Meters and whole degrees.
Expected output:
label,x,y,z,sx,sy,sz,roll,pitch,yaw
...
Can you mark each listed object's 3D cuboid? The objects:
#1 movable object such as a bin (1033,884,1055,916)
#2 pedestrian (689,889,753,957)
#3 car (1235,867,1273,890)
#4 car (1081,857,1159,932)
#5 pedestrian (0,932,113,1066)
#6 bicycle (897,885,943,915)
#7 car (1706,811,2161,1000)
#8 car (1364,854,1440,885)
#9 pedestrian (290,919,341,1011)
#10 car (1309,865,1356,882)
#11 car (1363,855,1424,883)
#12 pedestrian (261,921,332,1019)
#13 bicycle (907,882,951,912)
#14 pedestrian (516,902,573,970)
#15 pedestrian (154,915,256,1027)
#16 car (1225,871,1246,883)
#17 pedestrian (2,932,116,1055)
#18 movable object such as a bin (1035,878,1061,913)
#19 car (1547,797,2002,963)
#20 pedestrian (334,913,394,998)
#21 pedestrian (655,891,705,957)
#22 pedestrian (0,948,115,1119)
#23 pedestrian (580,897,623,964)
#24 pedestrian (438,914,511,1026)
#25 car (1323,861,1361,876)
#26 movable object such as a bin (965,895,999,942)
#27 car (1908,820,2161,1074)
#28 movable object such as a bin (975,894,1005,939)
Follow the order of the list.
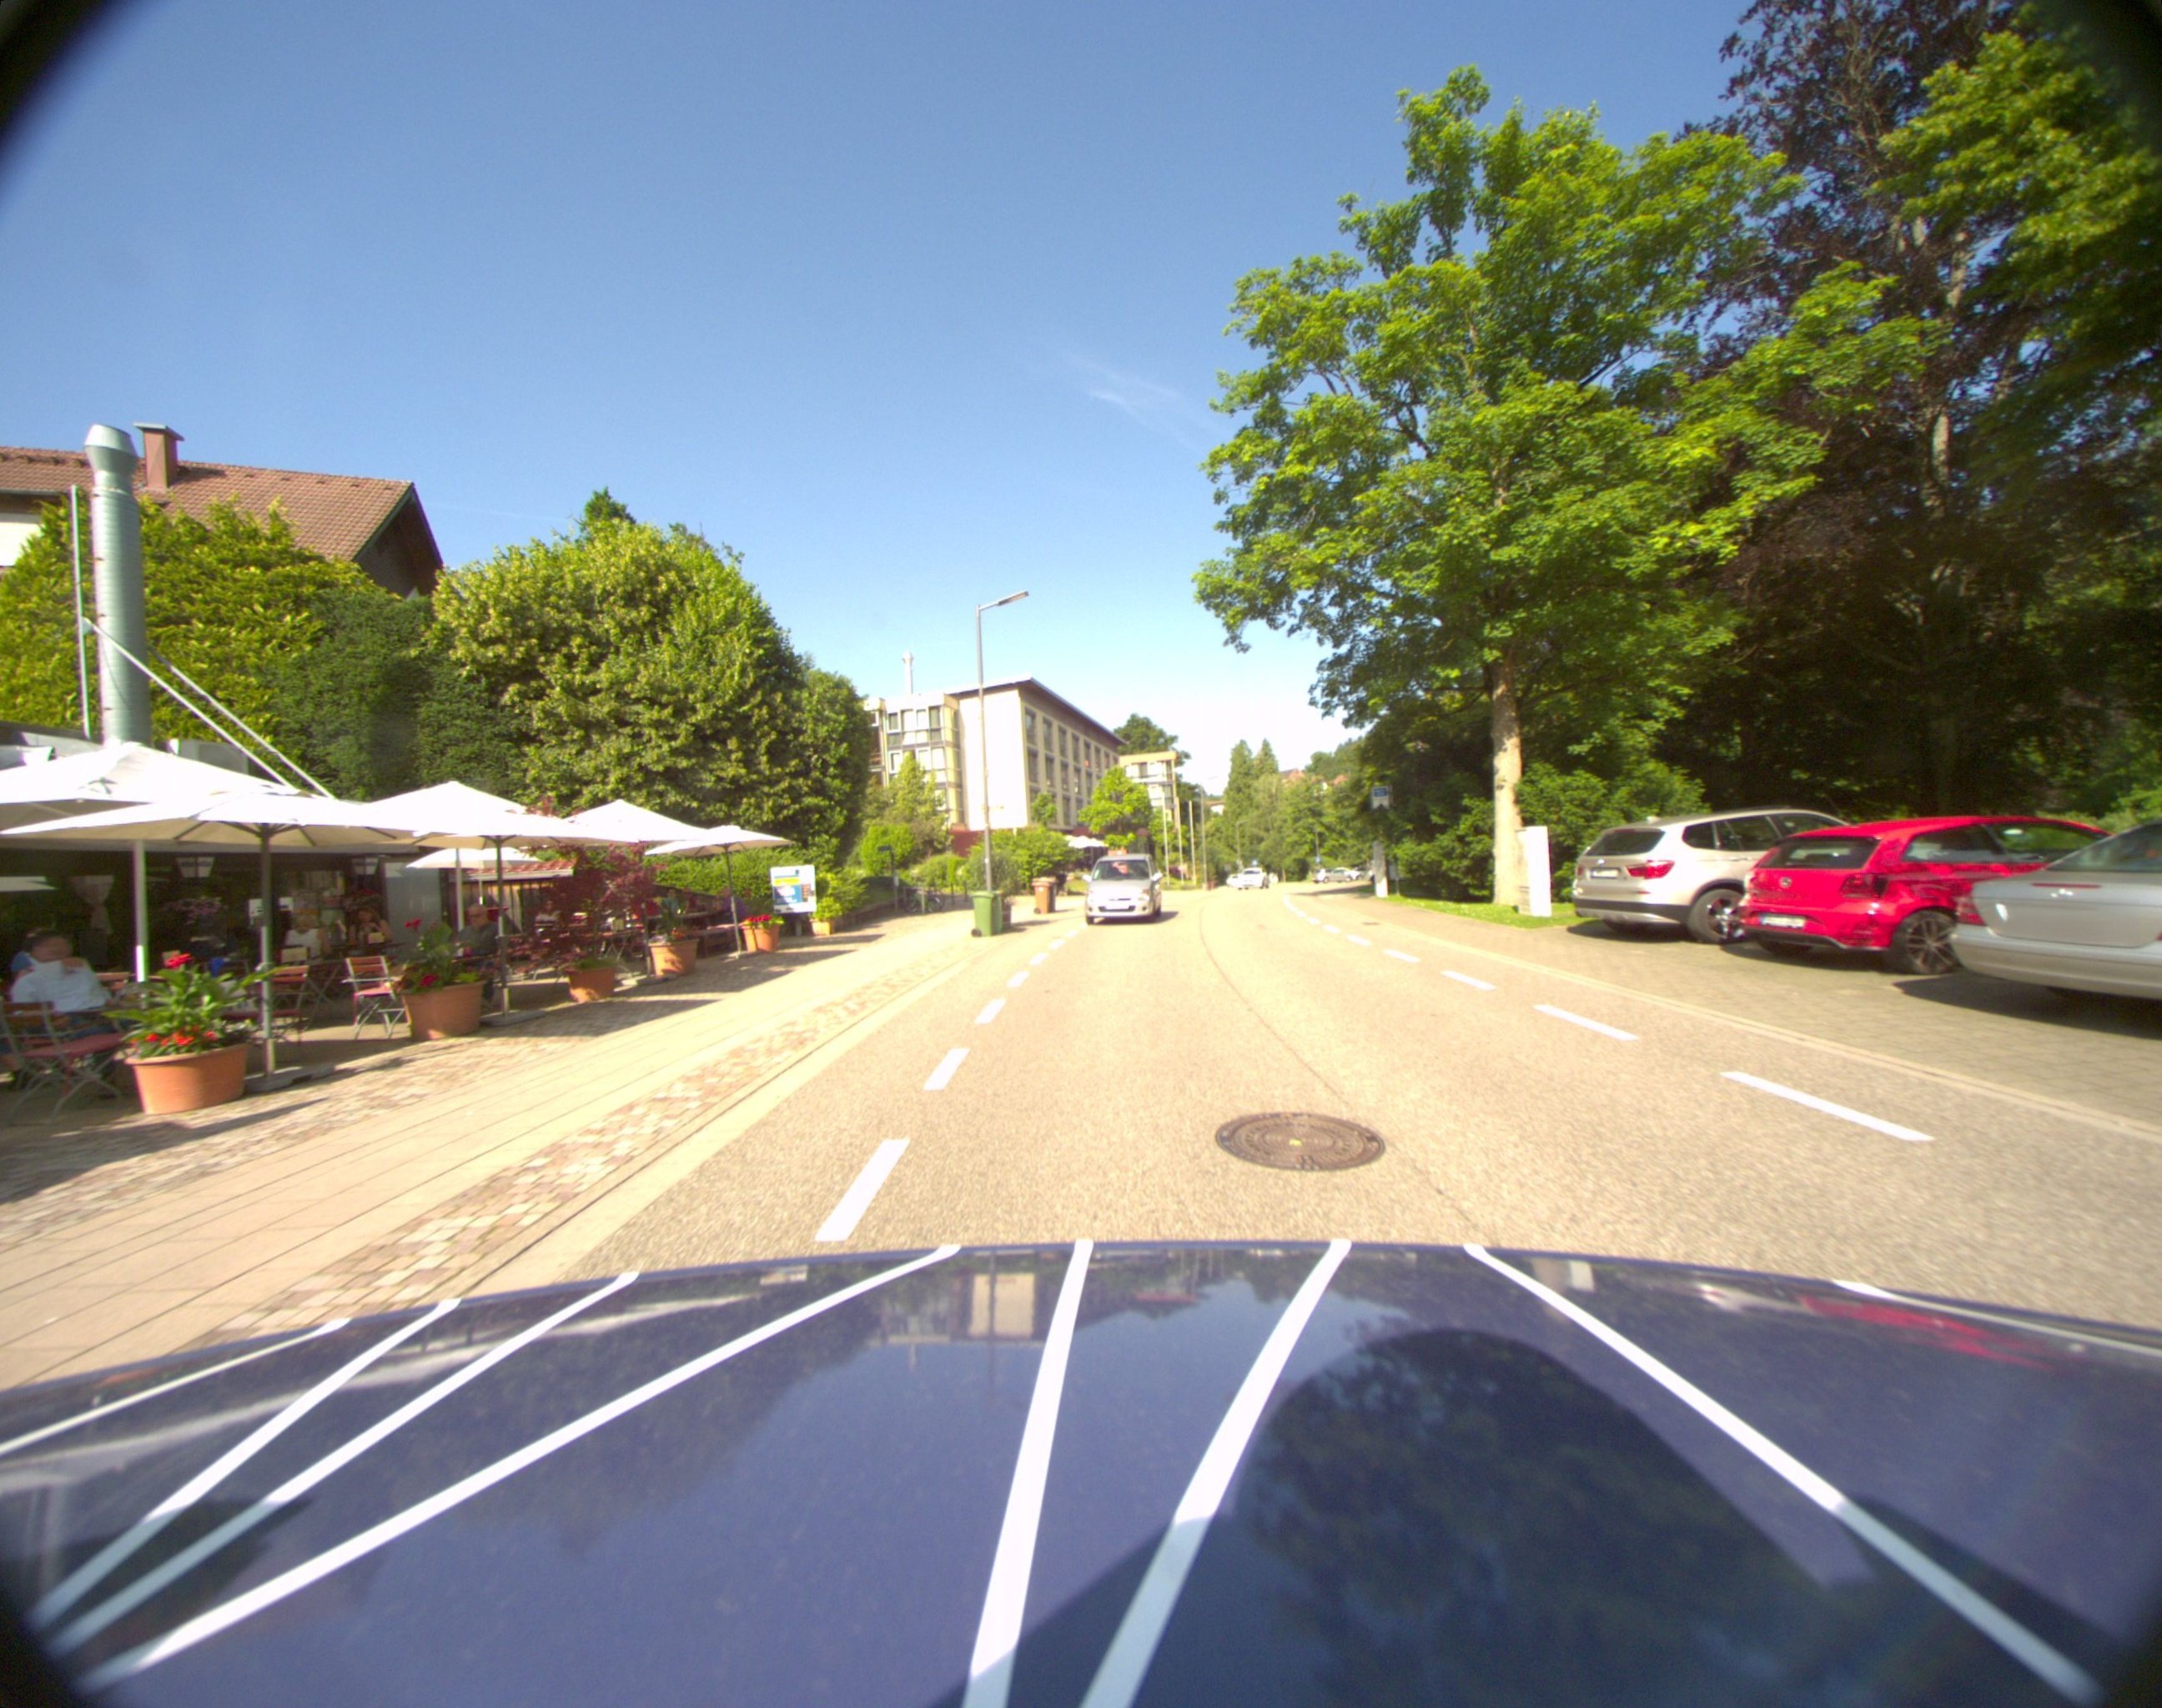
label,x,y,z,sx,sy,sz,roll,pitch,yaw
movable object such as a bin,-1.091,1.340,22.381,0.526,0.906,0.563,-1,0,10
pedestrian,-7.214,1.376,15.249,0.951,1.276,0.645,-2,0,-5
car,11.929,1.636,52.224,1.737,1.488,3.936,-2,-2,24
car,1.065,0.907,18.757,1.604,1.628,4.002,-1,0,7
pedestrian,-11.124,1.542,8.240,0.639,1.297,0.579,-2,0,-39
bicycle,-5.107,1.439,24.081,1.544,0.904,0.385,0,0,30
car,9.142,0.444,7.737,3.996,1.424,1.720,-5,1,2
car,17.577,0.863,41.694,3.681,1.478,1.569,-5,-2,23
pedestrian,-10.887,1.562,10.808,0.469,1.224,0.392,-1,0,32
car,24.842,1.938,75.094,4.000,1.388,1.515,-4,-3,-11
car,20.252,0.999,49.294,3.486,1.535,1.446,-5,-3,23
pedestrian,-10.700,1.567,10.379,0.470,1.258,0.440,-2,0,-7
bicycle,-5.056,1.414,25.246,1.544,0.977,0.385,-1,0,30
pedestrian,-10.256,1.549,14.543,0.507,1.224,0.700,-2,0,16
pedestrian,-10.930,1.440,9.497,0.531,1.297,0.609,-2,0,-6
car,19.670,2.900,96.804,1.740,1.389,3.999,-2,0,-1
pedestrian,-11.776,1.575,8.776,0.639,1.275,0.579,-2,0,-39
movable object such as a bin,-1.003,1.258,22.943,0.657,1.026,0.572,-1,0,10
car,9.181,0.307,10.328,4.494,1.654,1.809,-5,1,-1
pedestrian,-11.178,1.573,11.860,0.409,1.260,0.509,-2,0,7
pedestrian,-8.099,1.400,15.361,0.649,1.276,0.645,-2,0,-5
pedestrian,-8.761,1.446,6.255,0.811,1.253,0.701,-2,0,16
pedestrian,-9.436,1.492,14.963,0.596,1.230,0.507,-2,0,-44
pedestrian,-7.293,1.372,9.154,0.473,1.238,0.592,-2,1,-19
car,31.448,1.774,91.501,3.997,1.468,1.516,-3,-2,-1
movable object such as a bin,-2.013,1.313,15.551,0.549,0.920,0.520,-2,0,7
car,8.768,0.421,4.991,4.493,1.409,1.810,-5,1,3
movable object such as a bin,-1.930,1.329,16.118,0.515,0.907,0.442,-2,0,7
